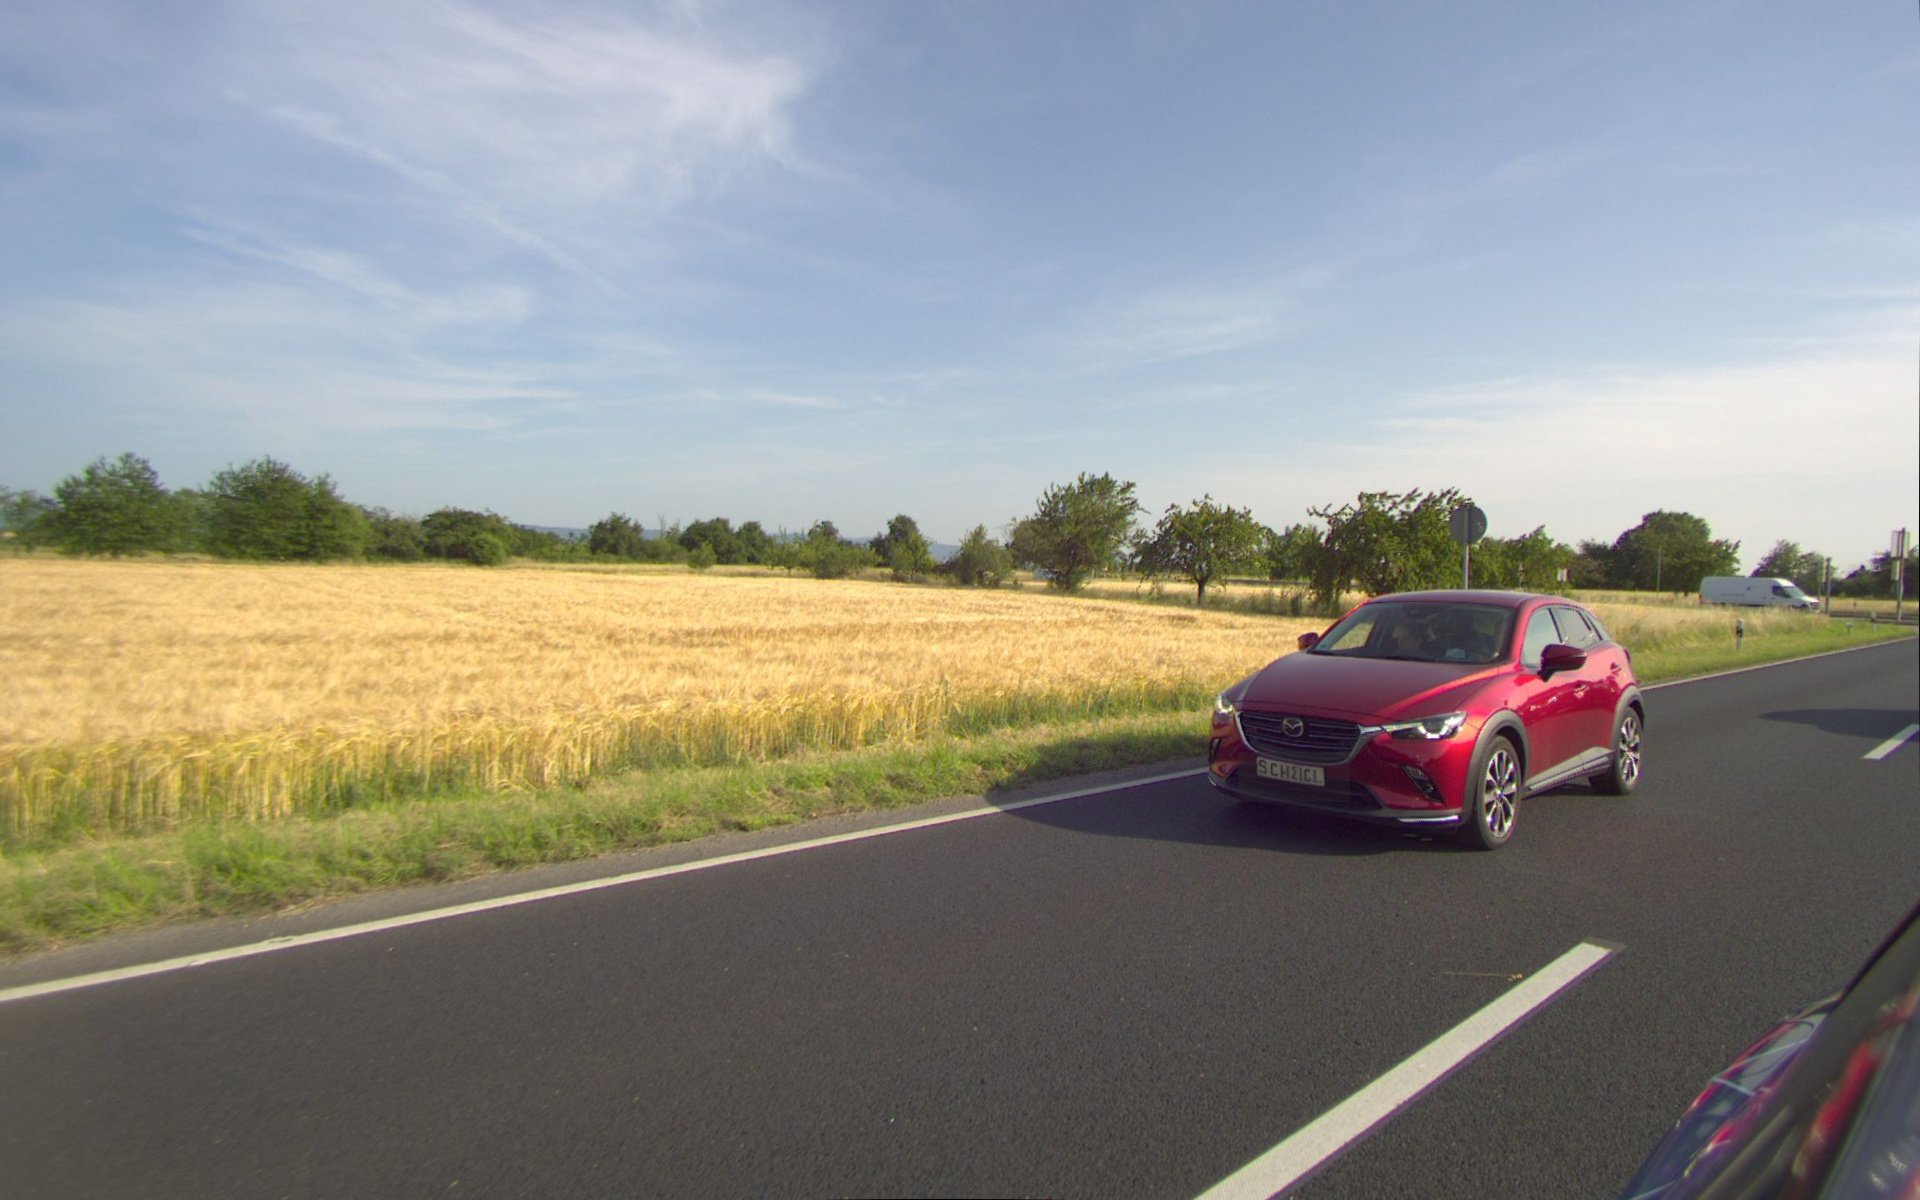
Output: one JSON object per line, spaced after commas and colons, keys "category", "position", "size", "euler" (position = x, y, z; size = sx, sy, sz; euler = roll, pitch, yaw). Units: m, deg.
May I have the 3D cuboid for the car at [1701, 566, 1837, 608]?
{"category": "car", "position": [56.410, -0.982, 70.790], "size": [2.049, 2.701, 7.229], "euler": [-1, 2, -26]}

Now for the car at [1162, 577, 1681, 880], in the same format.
{"category": "car", "position": [3.505, 0.611, 7.232], "size": [4.423, 1.524, 1.707], "euler": [-1, 1, -41]}
